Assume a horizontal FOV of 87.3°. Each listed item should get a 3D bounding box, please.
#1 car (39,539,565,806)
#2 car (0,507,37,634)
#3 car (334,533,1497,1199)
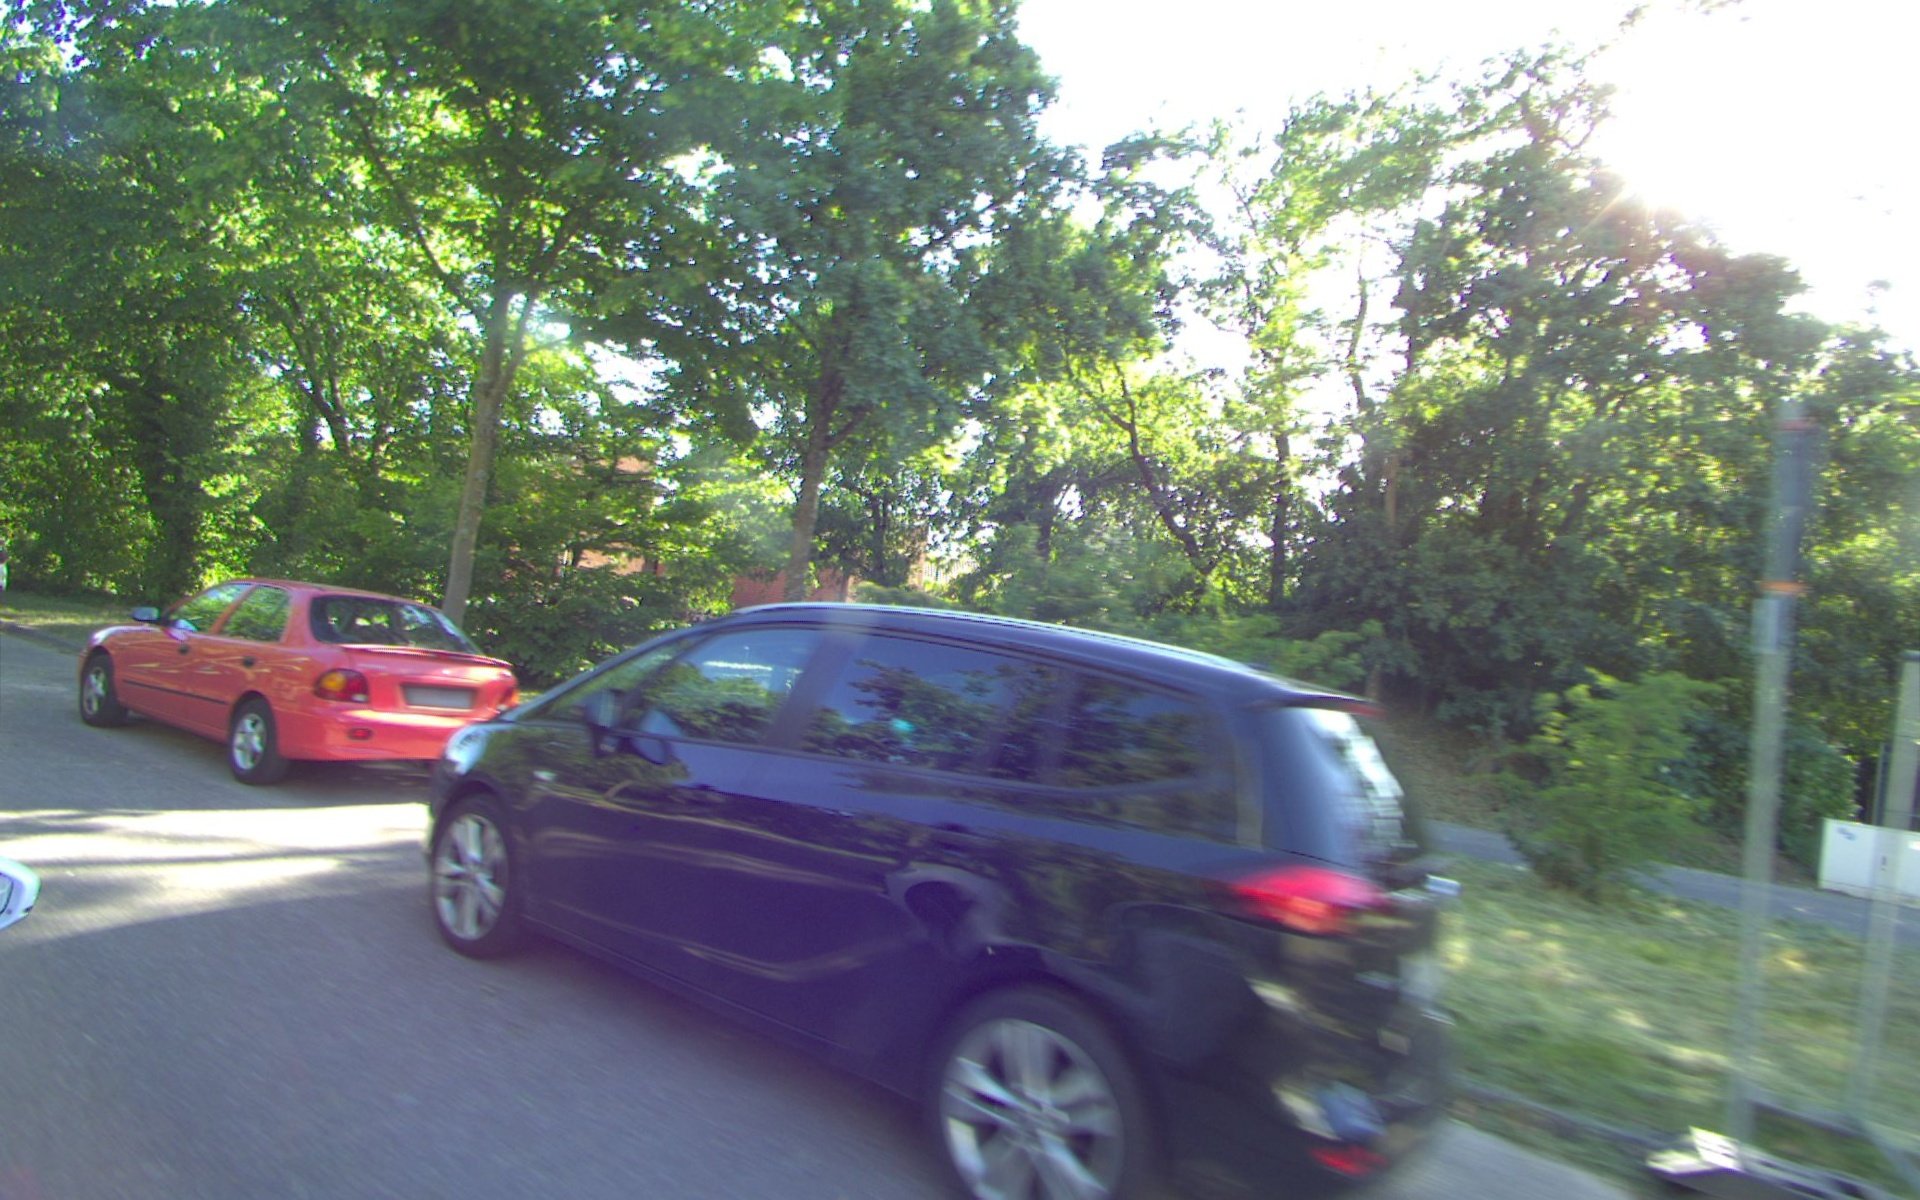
[{"bbox_3d":[-5.294,0.516,7.998,4.084,1.389,1.668,7,-5,30],"label":"car"},{"bbox_3d":[-14.701,-0.689,13.683,3.994,1.637,1.783,7,-5,29],"label":"car"},{"bbox_3d":[-0.426,0.849,4.117,4.350,1.667,1.815,6,-5,34],"label":"car"}]
